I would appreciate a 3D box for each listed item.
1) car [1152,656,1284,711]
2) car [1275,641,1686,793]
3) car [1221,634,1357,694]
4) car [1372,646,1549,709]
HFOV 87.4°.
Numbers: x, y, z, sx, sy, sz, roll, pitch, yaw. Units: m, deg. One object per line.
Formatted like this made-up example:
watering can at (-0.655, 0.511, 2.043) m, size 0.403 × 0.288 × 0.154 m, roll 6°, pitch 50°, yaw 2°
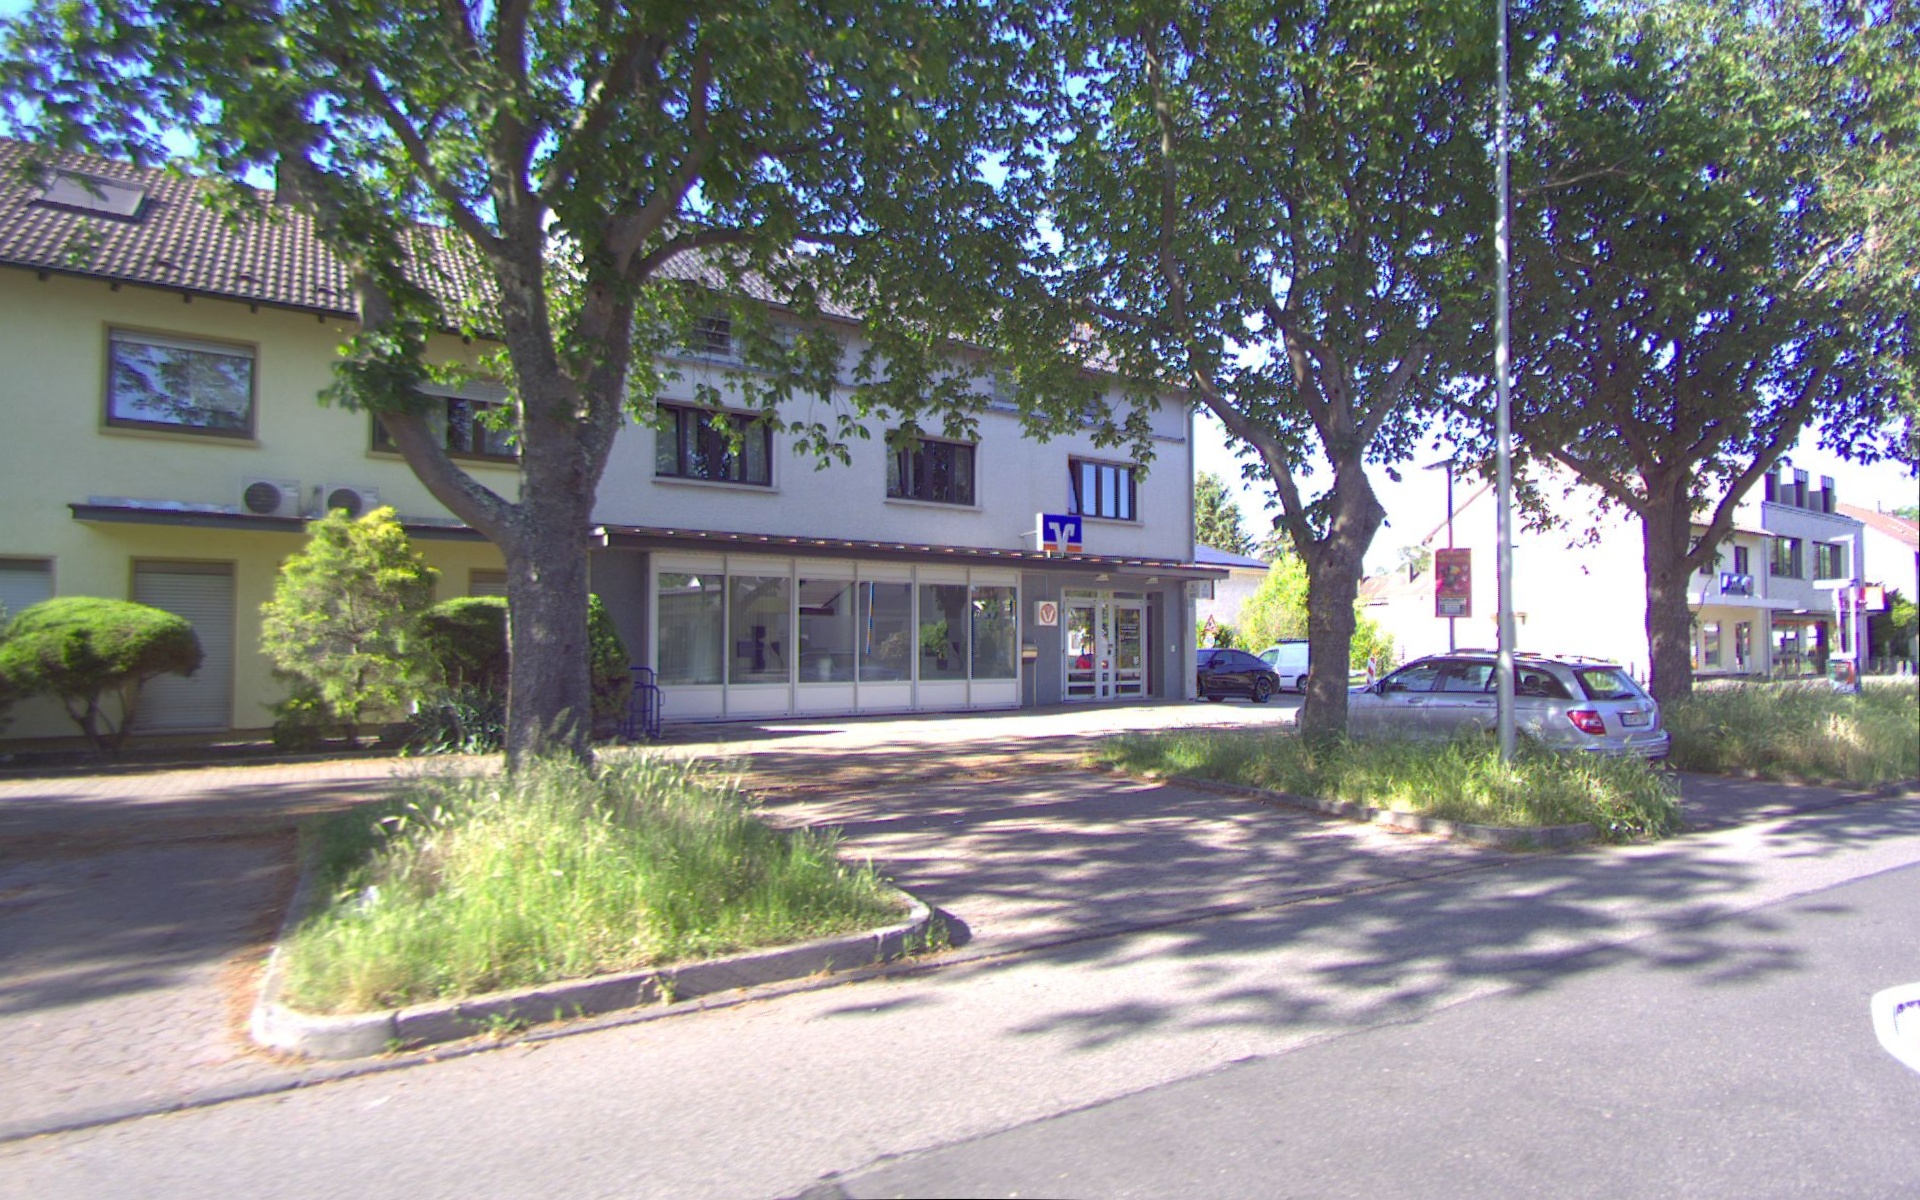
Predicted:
car at (7.061, 2.231, 27.443) m, size 3.471 × 1.253 × 1.533 m, roll 0°, pitch -1°, yaw -32°
car at (6.480, 1.339, 13.096) m, size 1.819 × 1.531 × 4.534 m, roll 1°, pitch -2°, yaw -30°
car at (11.942, 2.259, 36.746) m, size 1.979 × 1.953 × 4.528 m, roll 0°, pitch -1°, yaw -33°
car at (15.346, 2.330, 31.018) m, size 1.979 × 1.639 × 4.528 m, roll 0°, pitch -1°, yaw -33°
